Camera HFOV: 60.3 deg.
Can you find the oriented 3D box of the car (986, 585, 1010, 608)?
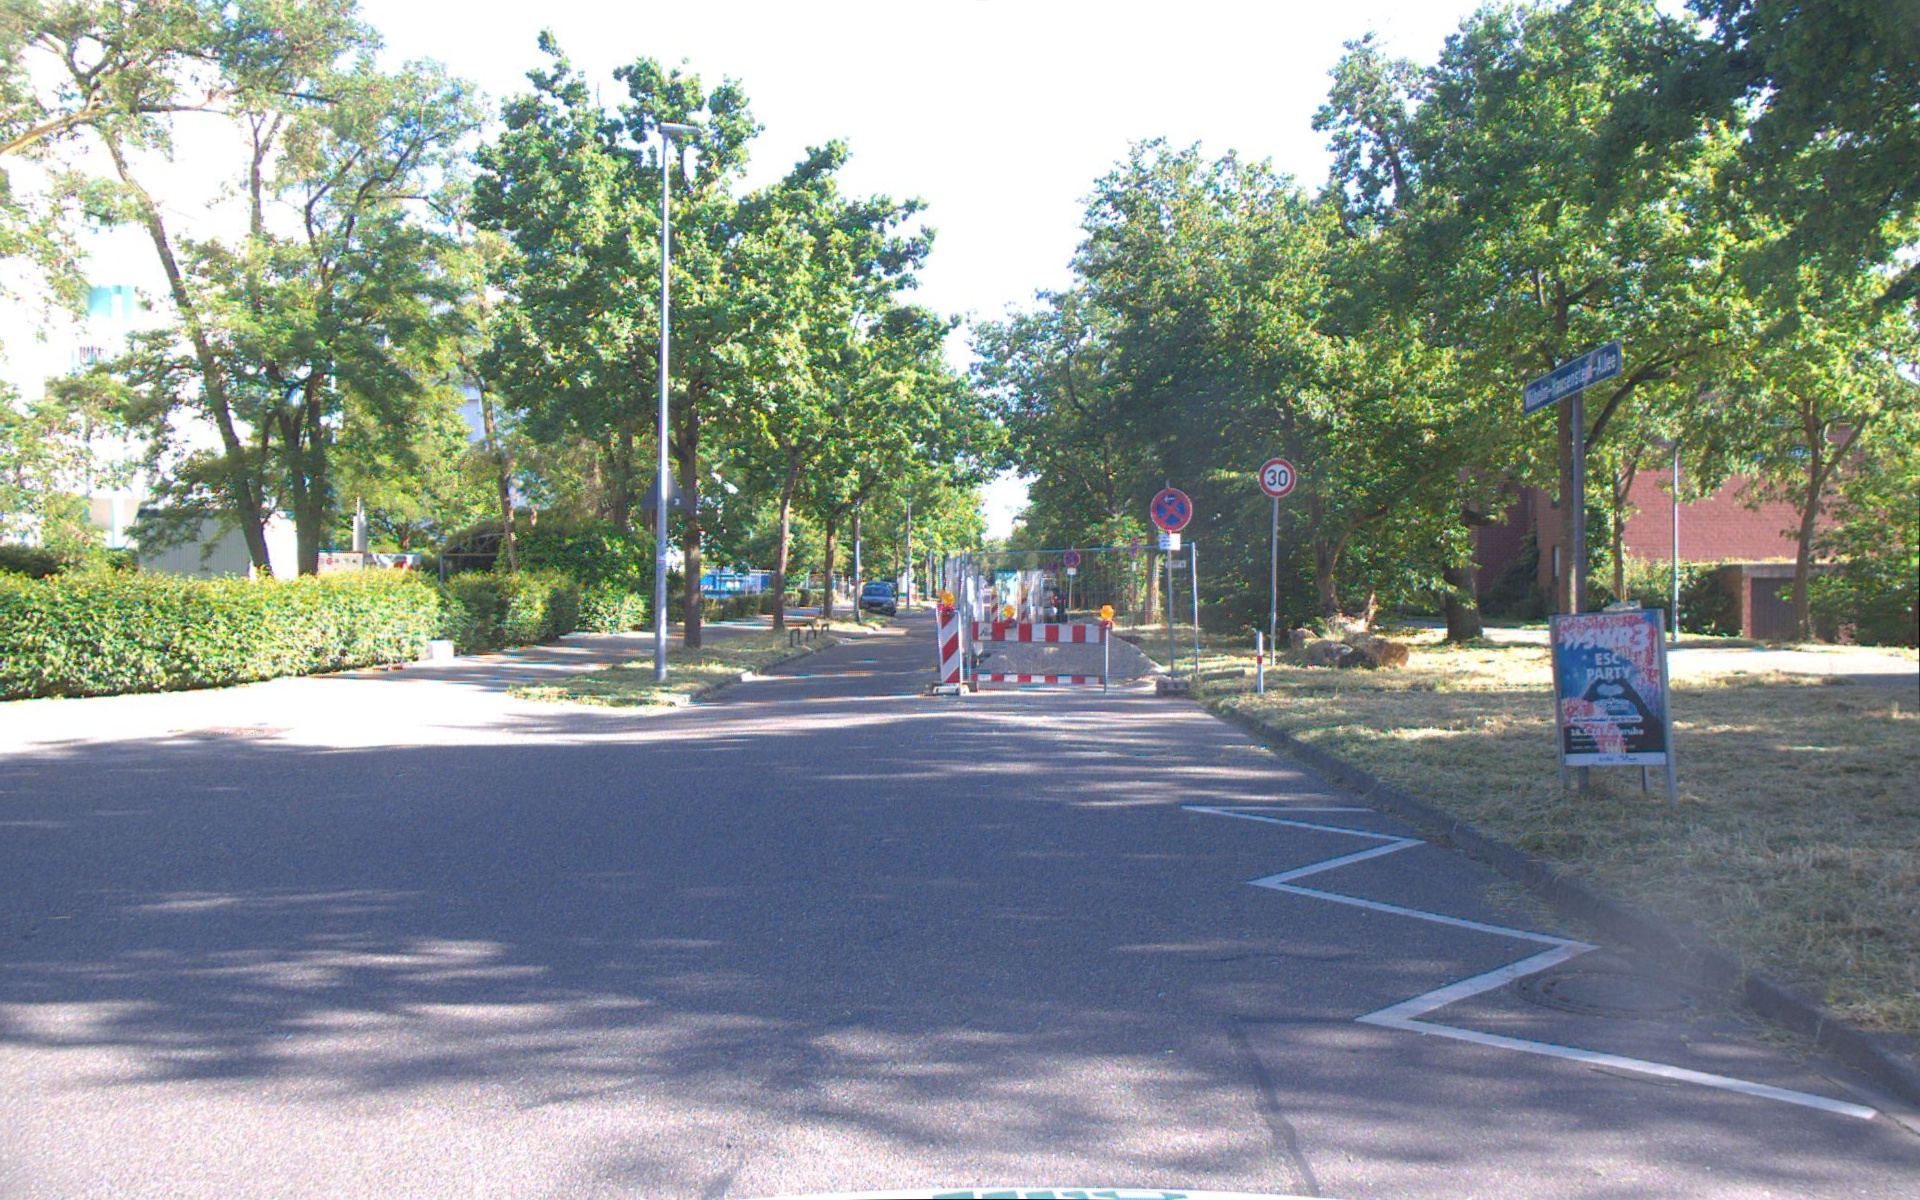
[{"bbox_3d":[2.320,-0.195,101.135,1.334,1.325,3.480,1,0,-1],"label":"car"}]

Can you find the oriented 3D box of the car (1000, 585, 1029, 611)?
[{"bbox_3d":[2.892,-0.097,88.153,1.334,1.325,3.480,1,0,-1],"label":"car"}]

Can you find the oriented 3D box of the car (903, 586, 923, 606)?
[{"bbox_3d":[-3.240,-0.238,113.791,1.334,1.325,3.480,1,0,-1],"label":"car"}]

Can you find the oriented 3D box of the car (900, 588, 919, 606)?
[{"bbox_3d":[-3.815,-0.199,125.533,1.334,1.325,3.480,1,0,-1],"label":"car"}]

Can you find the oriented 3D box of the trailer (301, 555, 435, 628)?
[{"bbox_3d":[-17.612,-0.273,49.436,1.934,2.078,4.433,0,1,8],"label":"trailer"}]
